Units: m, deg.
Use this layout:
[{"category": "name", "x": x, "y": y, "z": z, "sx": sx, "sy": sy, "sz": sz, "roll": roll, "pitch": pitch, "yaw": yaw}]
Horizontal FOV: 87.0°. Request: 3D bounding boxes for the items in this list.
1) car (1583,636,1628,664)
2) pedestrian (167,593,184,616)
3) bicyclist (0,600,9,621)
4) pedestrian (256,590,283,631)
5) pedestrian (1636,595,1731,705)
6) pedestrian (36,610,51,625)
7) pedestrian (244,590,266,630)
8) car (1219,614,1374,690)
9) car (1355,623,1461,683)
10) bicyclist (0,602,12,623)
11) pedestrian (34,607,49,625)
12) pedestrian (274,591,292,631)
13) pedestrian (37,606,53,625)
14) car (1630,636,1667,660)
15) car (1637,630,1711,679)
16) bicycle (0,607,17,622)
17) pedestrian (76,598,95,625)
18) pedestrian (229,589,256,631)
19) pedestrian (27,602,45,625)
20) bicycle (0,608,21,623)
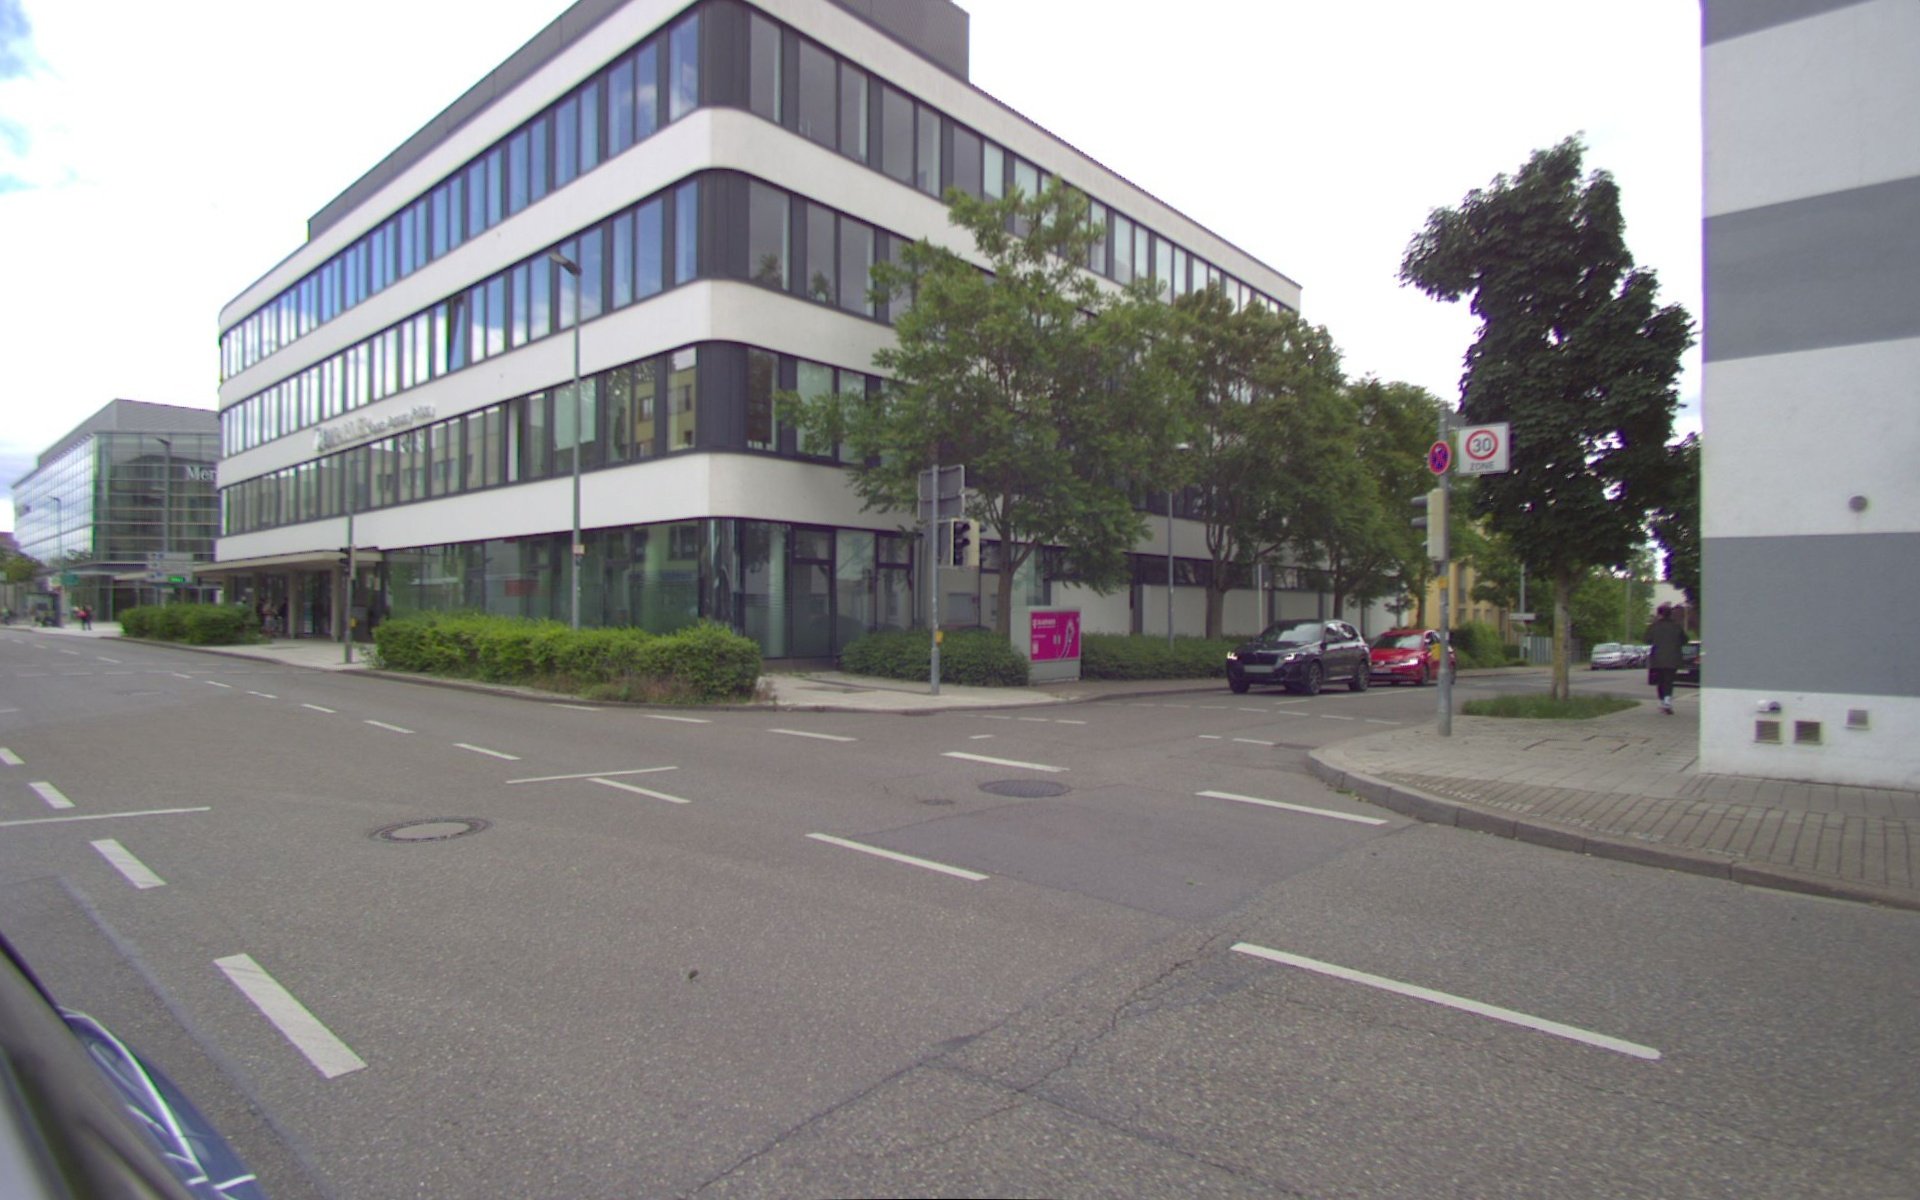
[{"category": "car", "x": 36.849, "y": 2.836, "z": 57.767, "sx": 1.684, "sy": 1.539, "sz": 3.946, "roll": 0, "pitch": -2, "yaw": 40}, {"category": "pedestrian", "x": -67.555, "y": 0.396, "z": 87.194, "sx": 0.740, "sy": 1.960, "sz": 0.902, "roll": -1, "pitch": 0, "yaw": 3}, {"category": "bicyclist", "x": -81.453, "y": 0.905, "z": 85.835, "sx": 0.762, "sy": 1.813, "sz": 0.748, "roll": -2, "pitch": 1, "yaw": -4}, {"category": "pedestrian", "x": -28.369, "y": 0.428, "z": 41.567, "sx": 0.931, "sy": 1.625, "sz": 0.722, "roll": -1, "pitch": 1, "yaw": 43}, {"category": "pedestrian", "x": 11.518, "y": 0.785, "z": 16.134, "sx": 0.800, "sy": 1.682, "sz": 0.887, "roll": -1, "pitch": -2, "yaw": -29}, {"category": "pedestrian", "x": -64.488, "y": 1.242, "z": 71.220, "sx": 0.576, "sy": 1.084, "sz": 0.677, "roll": -1, "pitch": -3, "yaw": 40}, {"category": "pedestrian", "x": -30.961, "y": 0.443, "z": 44.474, "sx": 0.501, "sy": 1.723, "sz": 0.613, "roll": 0, "pitch": -1, "yaw": 11}, {"category": "car", "x": 7.565, "y": 1.165, "z": 22.569, "sx": 1.911, "sy": 1.544, "sz": 3.945, "roll": -3, "pitch": -4, "yaw": 41}, {"category": "car", "x": 12.547, "y": 1.446, "z": 28.230, "sx": 1.684, "sy": 1.539, "sz": 3.946, "roll": 0, "pitch": -2, "yaw": 40}, {"category": "bicyclist", "x": -79.325, "y": 1.052, "z": 83.983, "sx": 0.771, "sy": 1.661, "sz": 0.640, "roll": -2, "pitch": 1, "yaw": -33}, {"category": "pedestrian", "x": -64.973, "y": 1.145, "z": 71.576, "sx": 0.576, "sy": 1.263, "sz": 0.677, "roll": -1, "pitch": -2, "yaw": 40}, {"category": "pedestrian", "x": -29.864, "y": 0.493, "z": 44.665, "sx": 0.497, "sy": 1.743, "sz": 0.617, "roll": 0, "pitch": -1, "yaw": -17}, {"category": "pedestrian", "x": -63.988, "y": 1.092, "z": 70.776, "sx": 0.576, "sy": 1.330, "sz": 0.677, "roll": -1, "pitch": -2, "yaw": 40}, {"category": "car", "x": 46.329, "y": 3.227, "z": 68.041, "sx": 1.684, "sy": 1.539, "sz": 3.946, "roll": 0, "pitch": -2, "yaw": 40}, {"category": "car", "x": 23.995, "y": 1.819, "z": 34.015, "sx": 1.908, "sy": 1.544, "sz": 3.951, "roll": -1, "pitch": -3, "yaw": 36}, {"category": "bicycle", "x": -81.445, "y": 1.216, "z": 85.853, "sx": 2.000, "sy": 1.215, "sz": 0.748, "roll": -2, "pitch": 1, "yaw": -4}, {"category": "pedestrian", "x": -52.480, "y": 0.675, "z": 60.758, "sx": 0.820, "sy": 1.579, "sz": 0.814, "roll": -1, "pitch": 1, "yaw": -43}, {"category": "pedestrian", "x": -29.250, "y": 0.392, "z": 41.264, "sx": 0.931, "sy": 1.686, "sz": 0.722, "roll": -1, "pitch": 1, "yaw": 43}, {"category": "pedestrian", "x": -65.598, "y": 0.943, "z": 71.830, "sx": 0.568, "sy": 1.643, "sz": 0.686, "roll": 1, "pitch": -2, "yaw": 1}, {"category": "bicycle", "x": -79.342, "y": 1.314, "z": 83.964, "sx": 1.973, "sy": 1.139, "sz": 0.640, "roll": -2, "pitch": 1, "yaw": -33}]
